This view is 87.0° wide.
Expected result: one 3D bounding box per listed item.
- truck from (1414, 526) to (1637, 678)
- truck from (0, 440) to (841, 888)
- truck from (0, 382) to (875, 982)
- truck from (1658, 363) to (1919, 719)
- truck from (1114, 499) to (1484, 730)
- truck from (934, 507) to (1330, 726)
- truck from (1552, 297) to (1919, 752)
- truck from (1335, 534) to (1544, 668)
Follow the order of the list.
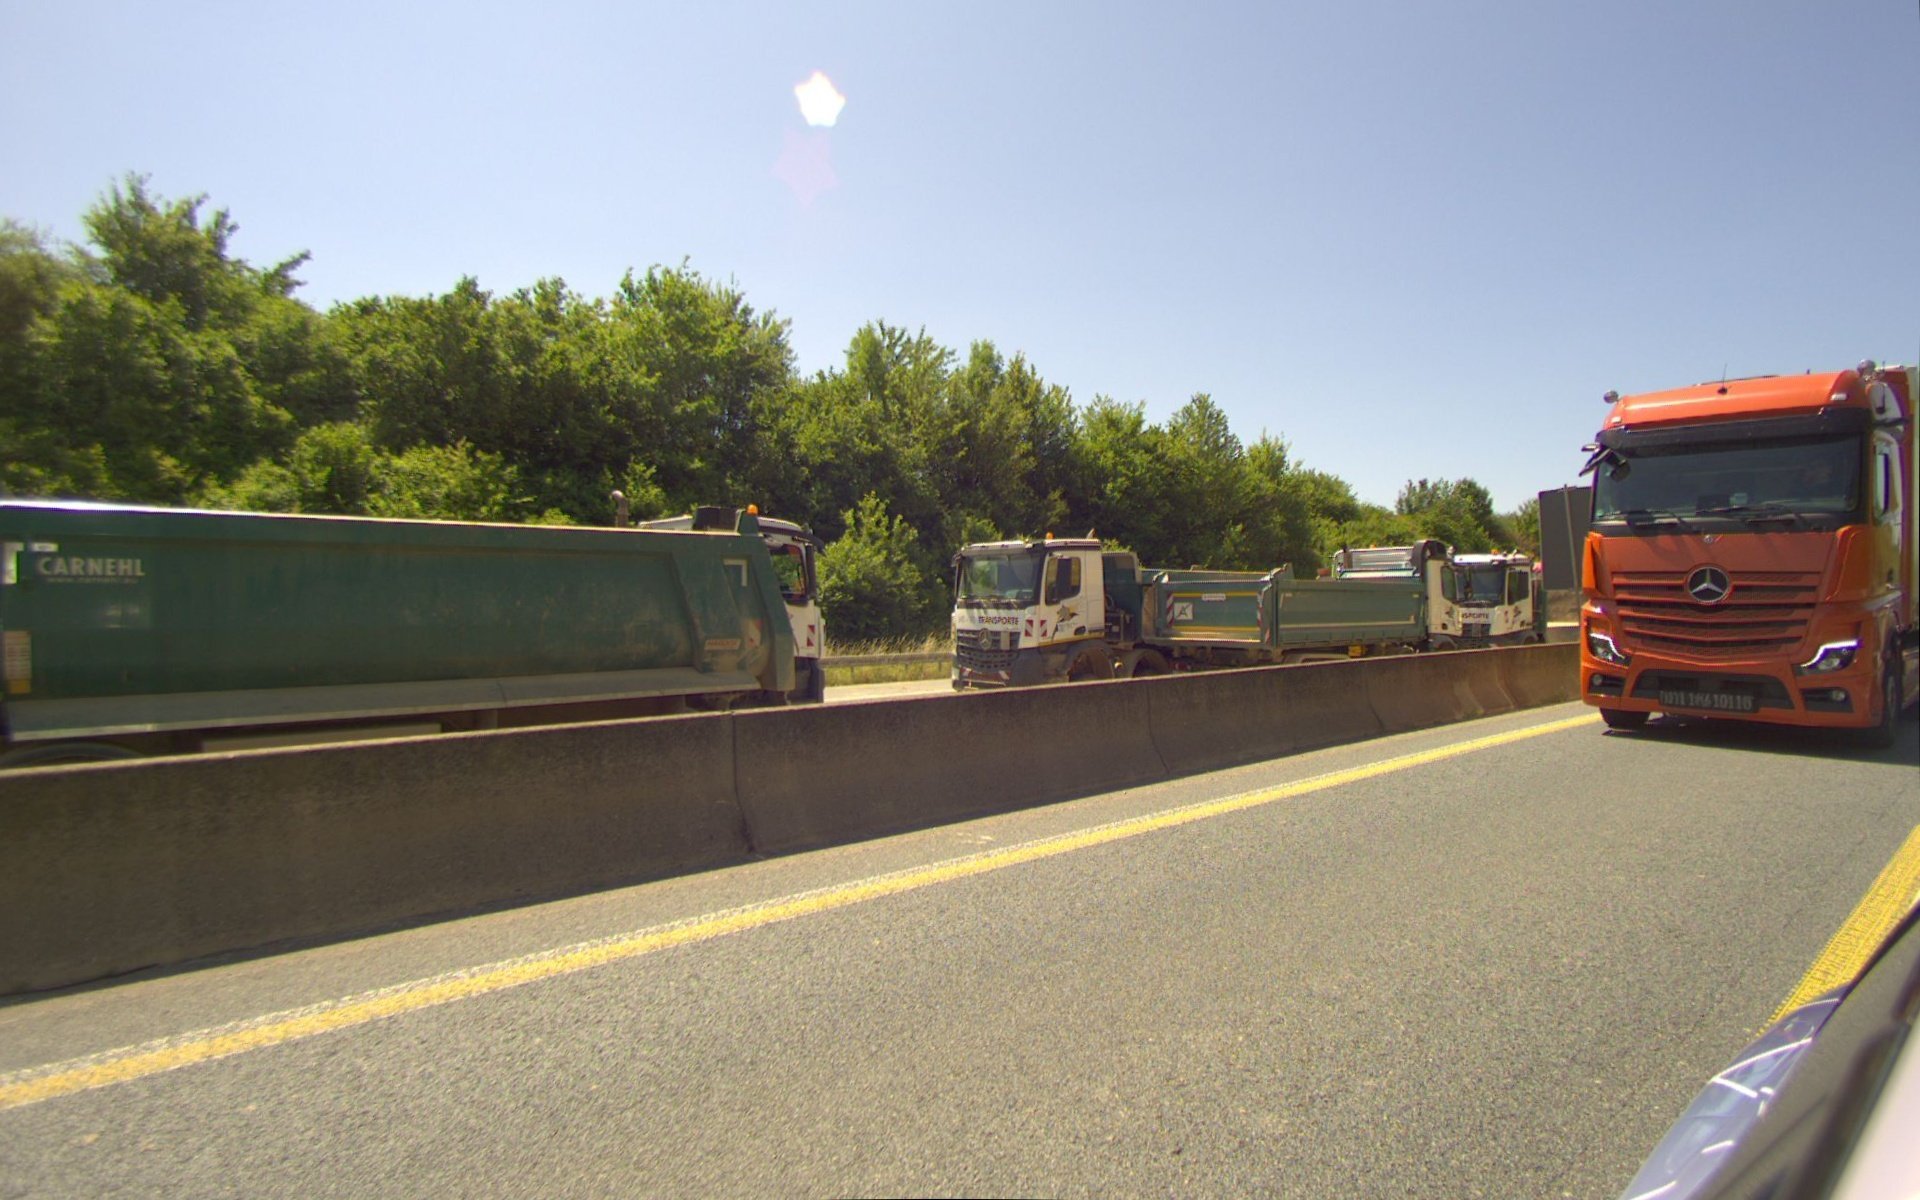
[{"bbox_3d":[15.595,0.026,27.514,8.789,3.555,2.537,0,0,-42],"label":"truck"},{"bbox_3d":[-6.006,0.495,11.449,9.436,3.602,2.691,0,0,-42],"label":"truck"},{"bbox_3d":[-5.287,0.482,8.298,9.435,3.602,2.691,0,0,-41],"label":"truck"},{"bbox_3d":[15.137,-0.757,16.683,12.987,4.061,2.687,-1,0,-40],"label":"truck"},{"bbox_3d":[7.066,0.197,19.905,9.436,3.602,2.542,0,0,-42],"label":"truck"},{"bbox_3d":[3.946,0.252,20.812,9.435,3.602,2.691,0,0,-41],"label":"truck"},{"bbox_3d":[9.902,-0.713,12.199,6.606,4.061,2.687,-1,0,-40],"label":"truck"},{"bbox_3d":[14.688,0.008,30.615,8.235,3.555,2.691,0,0,-42],"label":"truck"}]
